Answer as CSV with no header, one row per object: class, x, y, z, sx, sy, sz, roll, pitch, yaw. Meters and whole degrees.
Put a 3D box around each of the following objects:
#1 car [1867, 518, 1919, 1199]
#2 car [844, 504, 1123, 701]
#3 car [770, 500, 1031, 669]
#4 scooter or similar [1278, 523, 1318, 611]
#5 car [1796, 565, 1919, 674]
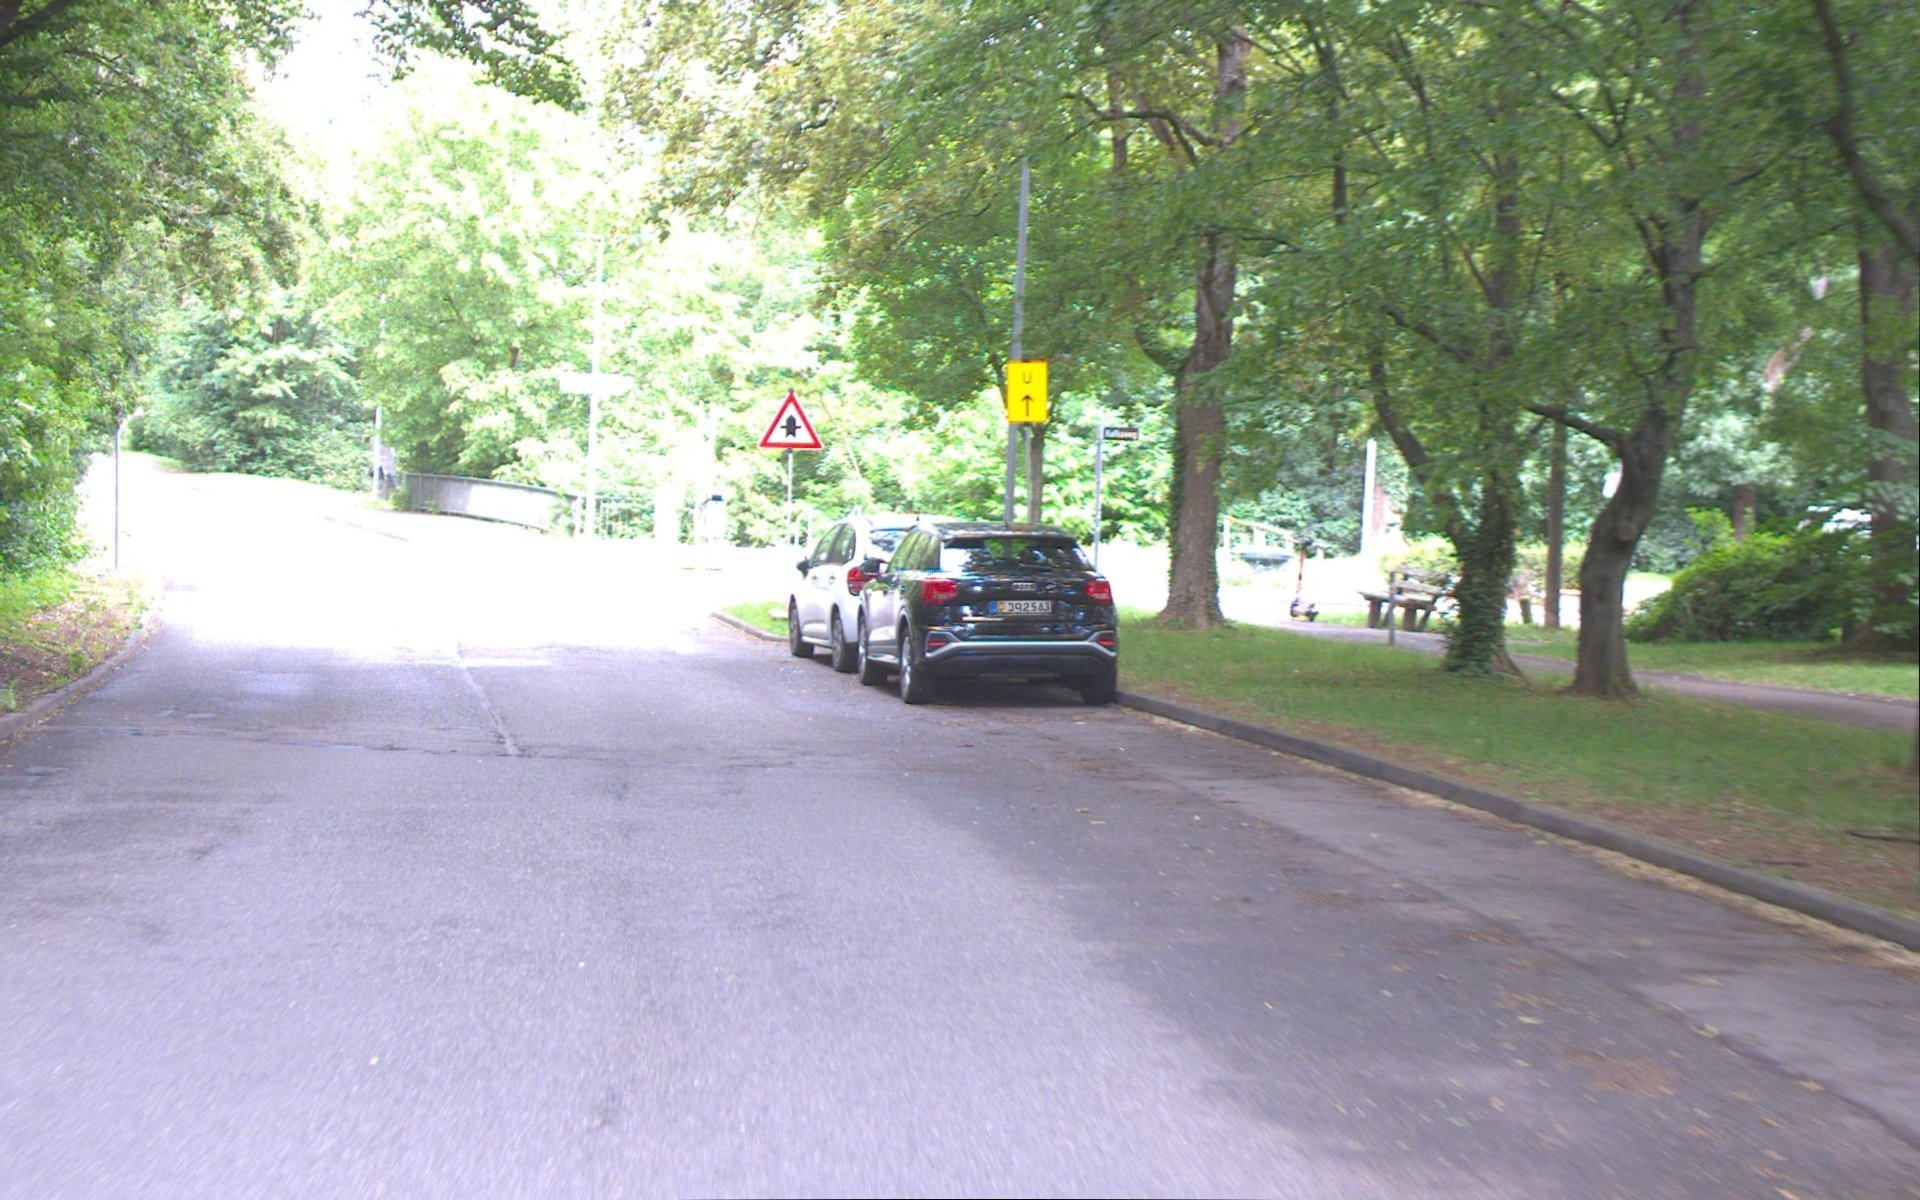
car,2.731,0.632,4.752,1.682,1.459,3.899,0,2,-4
car,0.126,-0.035,30.000,1.773,1.517,4.184,2,2,-8
car,-0.658,-0.194,34.347,1.773,1.517,3.782,1,2,-14
scooter or similar,5.086,-0.506,51.788,0.283,1.282,1.108,2,2,-8
car,15.034,0.336,53.634,3.517,1.564,1.832,3,2,2
